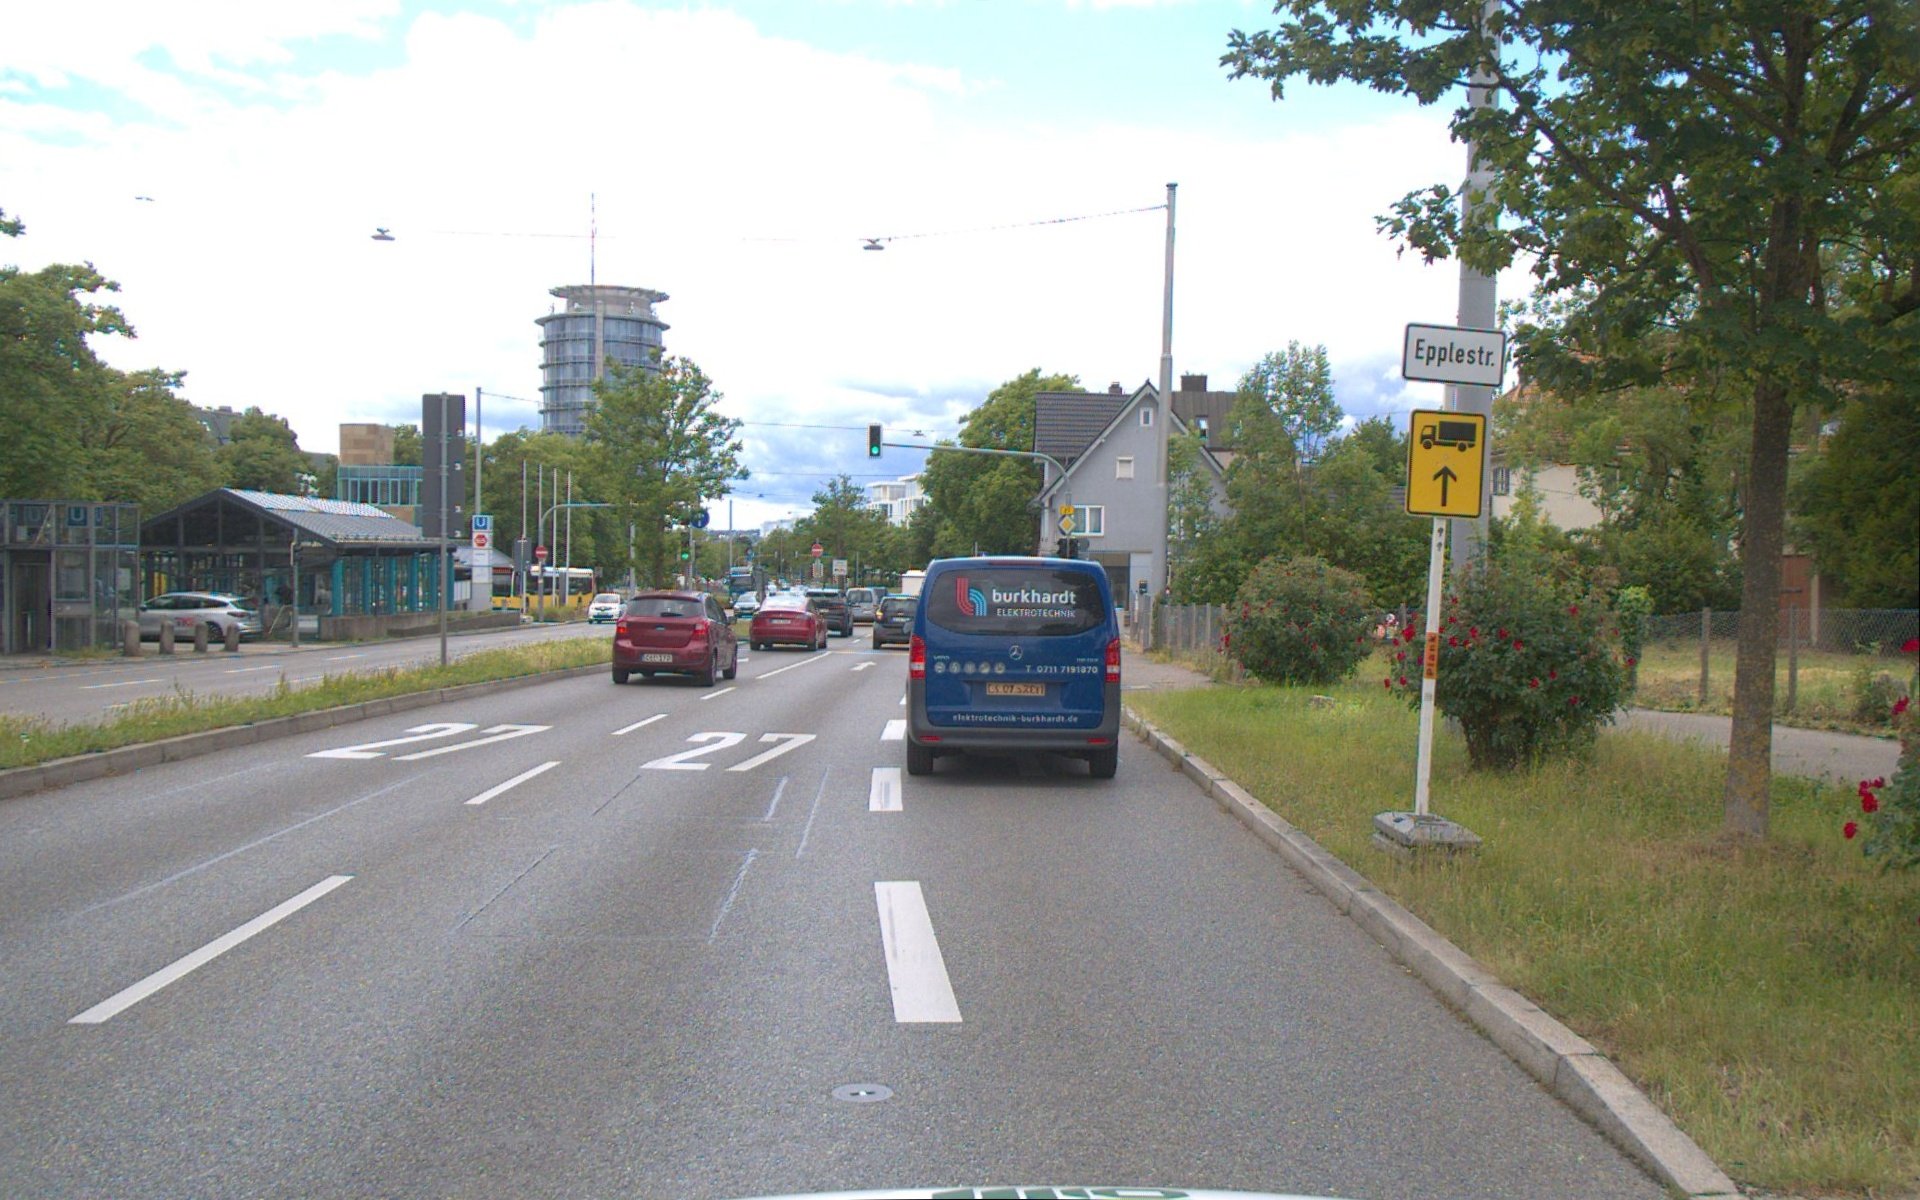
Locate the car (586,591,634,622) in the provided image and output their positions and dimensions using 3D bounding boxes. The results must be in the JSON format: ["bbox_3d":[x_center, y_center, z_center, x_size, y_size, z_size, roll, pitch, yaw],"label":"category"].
[{"bbox_3d":[-18.511,0.326,87.649,1.590,1.601,4.000,0,0,1],"label":"car"}]

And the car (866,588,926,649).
[{"bbox_3d":[-1.933,0.518,49.399,1.711,1.754,3.998,0,0,-3],"label":"car"}]

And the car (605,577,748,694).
[{"bbox_3d":[-4.742,0.561,28.175,1.711,1.753,3.999,3,0,-1],"label":"car"}]

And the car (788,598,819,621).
[{"bbox_3d":[-14.310,0.883,150.961,1.951,2.049,4.182,0,0,7],"label":"car"}]

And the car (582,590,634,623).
[{"bbox_3d":[-18.618,0.347,87.631,1.712,1.543,4.000,-6,0,0],"label":"car"}]

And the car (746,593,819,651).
[{"bbox_3d":[-4.919,0.621,45.574,1.834,1.512,3.992,0,-1,-9],"label":"car"}]

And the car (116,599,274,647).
[{"bbox_3d":[-22.881,0.679,49.594,3.916,1.378,1.994,0,0,-12],"label":"car"}]

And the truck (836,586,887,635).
[{"bbox_3d":[-4.721,0.492,80.044,1.953,2.203,5.559,2,0,1],"label":"truck"}]

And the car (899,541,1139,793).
[{"bbox_3d":[0.507,0.548,15.677,1.908,2.000,4.542,1,0,1],"label":"car"}]

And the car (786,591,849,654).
[{"bbox_3d":[-5.061,0.767,58.380,1.956,2.048,3.993,2,1,-8],"label":"car"}]

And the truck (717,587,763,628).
[{"bbox_3d":[-21.268,0.710,160.536,3.300,3.792,11.274,1,0,-2],"label":"truck"}]

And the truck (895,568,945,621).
[{"bbox_3d":[-1.745,-0.234,73.820,1.953,2.203,5.559,2,0,1],"label":"truck"}]
